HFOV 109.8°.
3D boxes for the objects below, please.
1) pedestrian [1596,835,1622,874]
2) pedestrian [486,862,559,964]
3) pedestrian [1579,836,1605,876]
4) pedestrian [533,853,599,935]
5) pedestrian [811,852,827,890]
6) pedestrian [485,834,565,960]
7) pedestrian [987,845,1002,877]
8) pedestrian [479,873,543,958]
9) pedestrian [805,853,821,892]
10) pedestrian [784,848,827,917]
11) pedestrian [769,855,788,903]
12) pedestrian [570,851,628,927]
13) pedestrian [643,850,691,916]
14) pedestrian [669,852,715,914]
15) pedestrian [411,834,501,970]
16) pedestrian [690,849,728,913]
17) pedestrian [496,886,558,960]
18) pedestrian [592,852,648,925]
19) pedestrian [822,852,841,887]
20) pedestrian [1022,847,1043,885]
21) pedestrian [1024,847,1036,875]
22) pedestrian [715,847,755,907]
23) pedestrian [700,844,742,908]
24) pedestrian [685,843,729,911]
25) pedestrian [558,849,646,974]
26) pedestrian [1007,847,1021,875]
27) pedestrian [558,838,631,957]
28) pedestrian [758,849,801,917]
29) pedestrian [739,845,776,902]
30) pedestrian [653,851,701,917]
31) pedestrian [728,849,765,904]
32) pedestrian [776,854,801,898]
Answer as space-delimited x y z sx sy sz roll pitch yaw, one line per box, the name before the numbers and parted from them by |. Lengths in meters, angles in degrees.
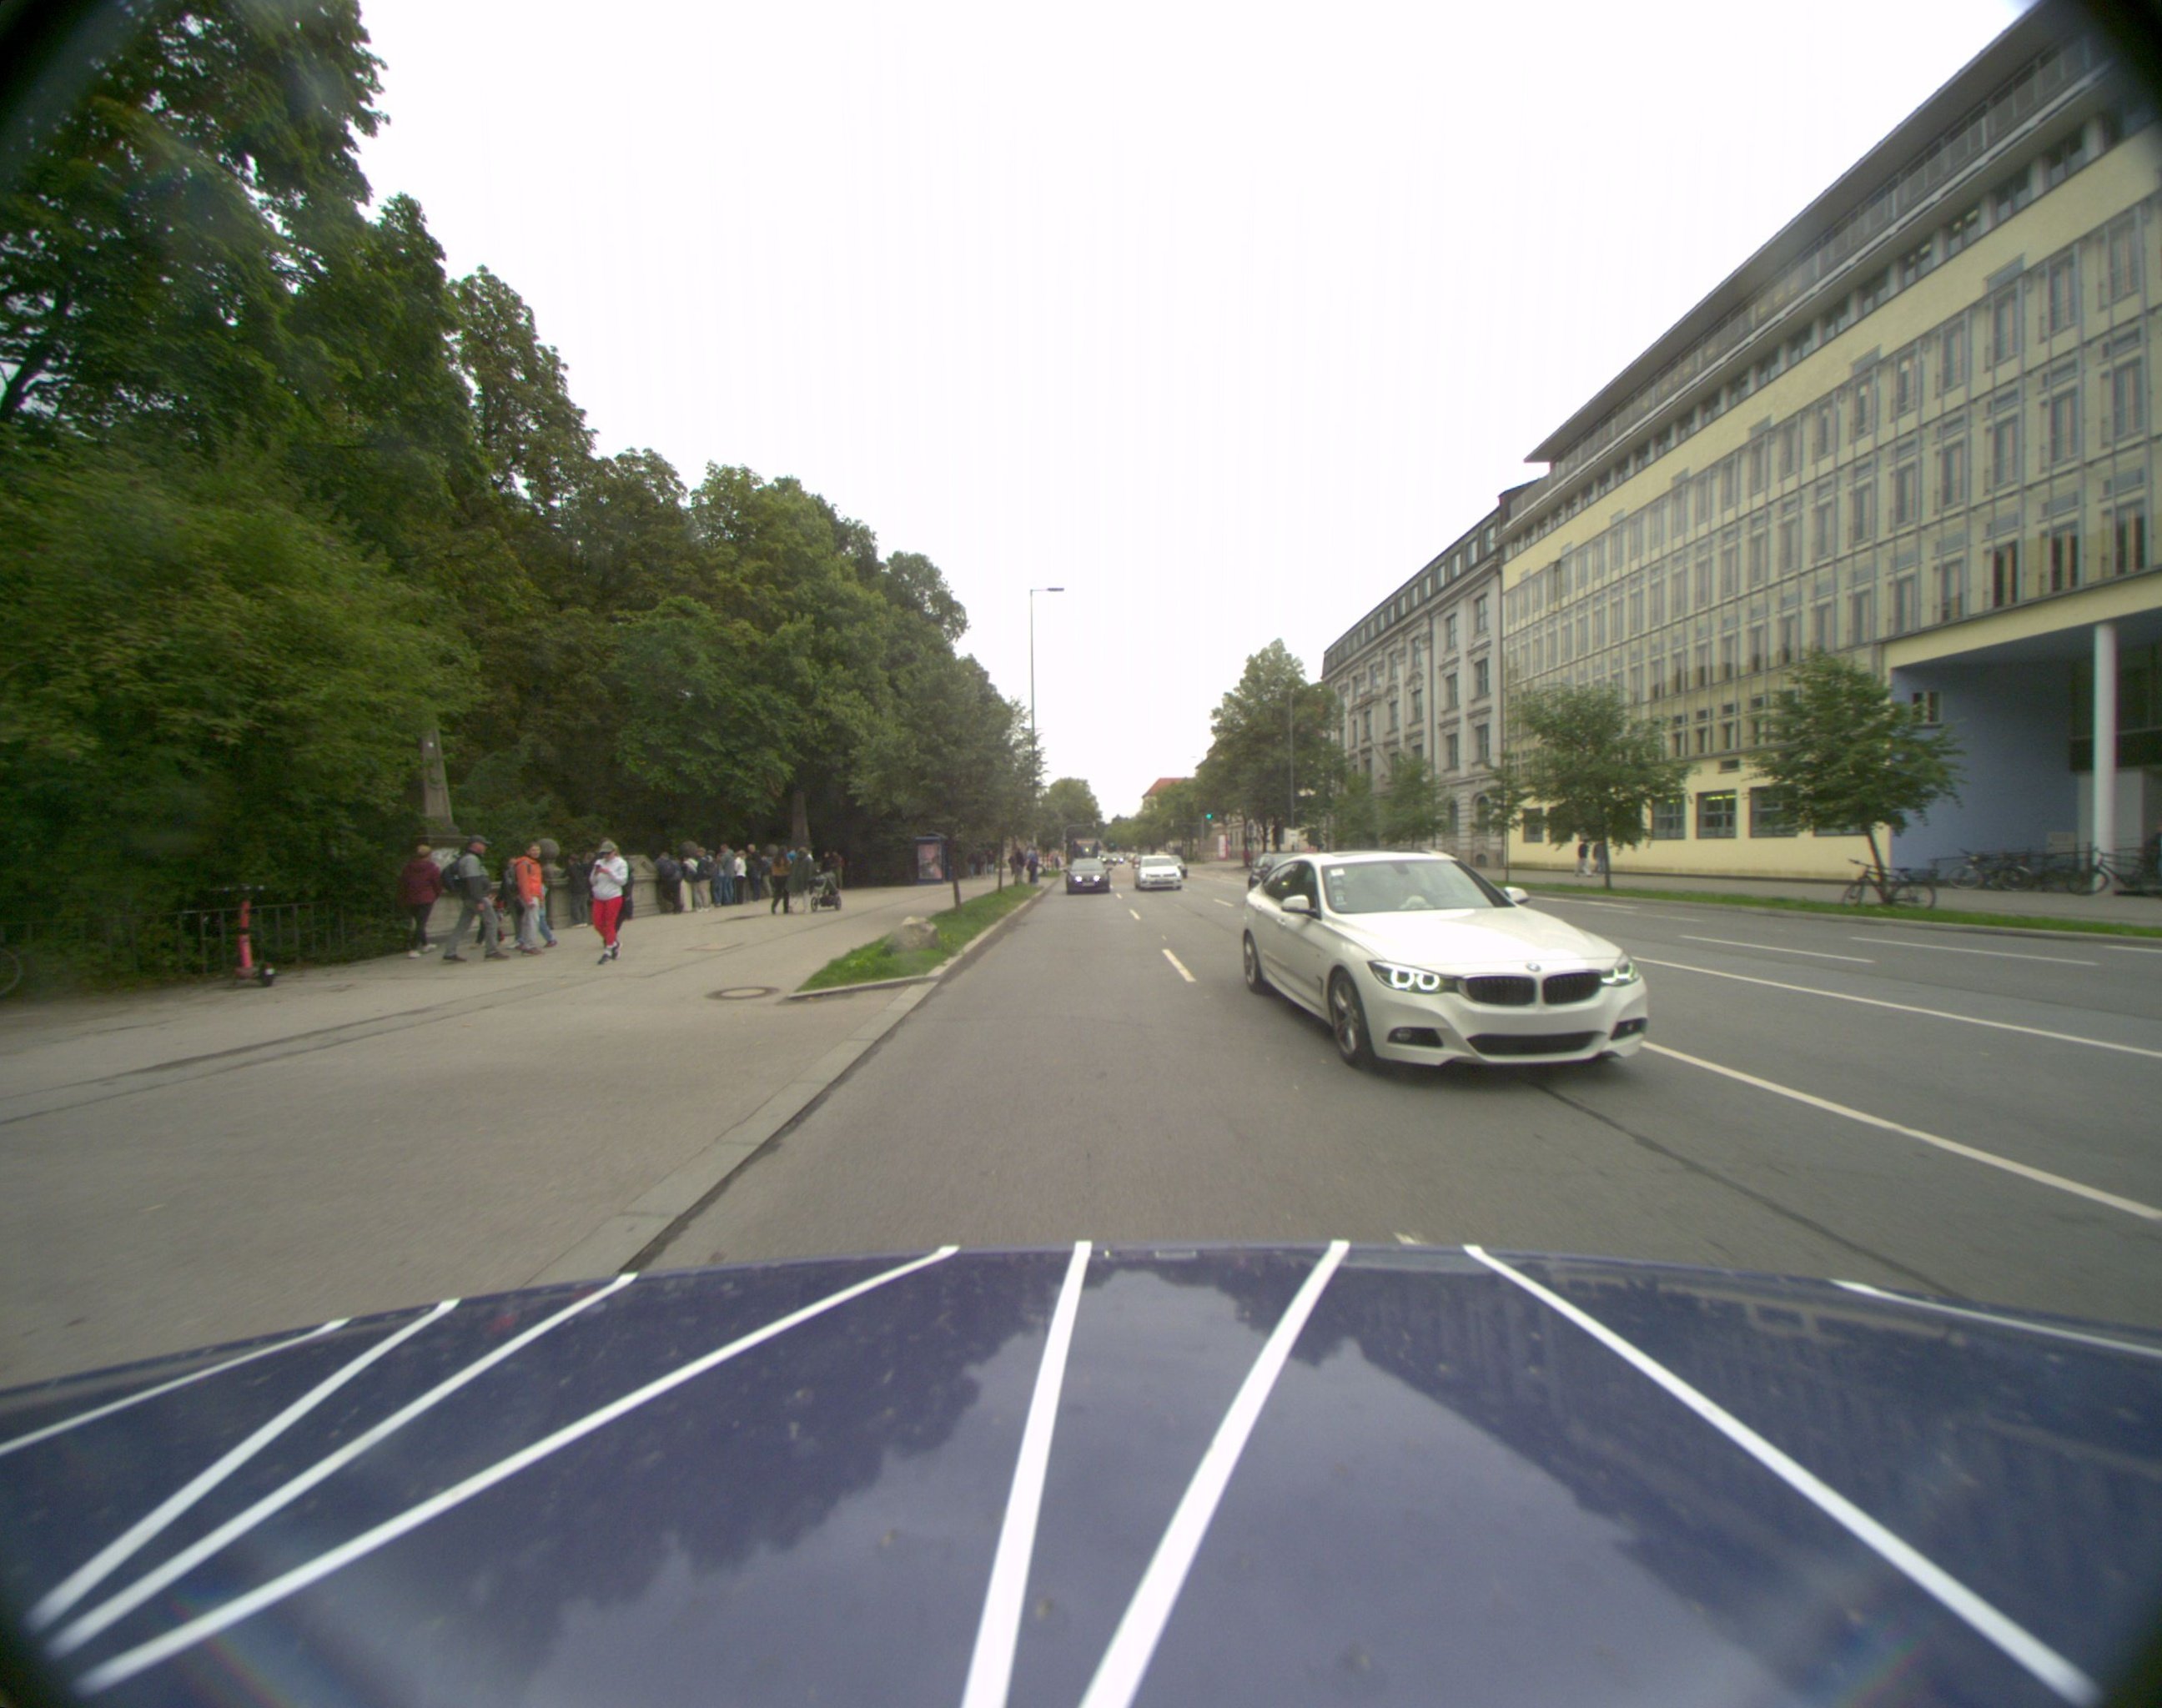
pedestrian | 24.237 0.023 34.887 0.617 1.767 0.836 -2 1 1
pedestrian | -8.662 0.898 11.802 0.550 1.519 0.648 -2 1 6
pedestrian | 23.553 0.082 35.008 0.617 1.767 0.836 -2 1 1
pedestrian | -10.963 0.828 16.189 0.814 1.681 0.729 -2 1 3
pedestrian | -10.459 0.688 30.346 0.421 1.499 0.442 -2 1 3
pedestrian | -8.646 0.653 11.827 0.610 1.903 0.694 -2 1 17
pedestrian | -5.341 0.433 46.848 0.710 1.904 0.956 -2 1 0
pedestrian | -9.288 0.986 12.404 0.459 1.319 0.648 -2 1 6
pedestrian | -10.541 0.708 29.891 0.421 1.499 0.442 -2 1 3
pedestrian | -6.944 0.716 19.165 0.728 1.681 0.648 -2 1 5
pedestrian | -10.890 0.881 27.398 0.421 1.694 0.442 -2 1 2
pedestrian | -10.884 0.777 17.172 0.814 1.681 0.729 0 1 3
pedestrian | -10.732 0.734 19.718 0.814 1.681 0.729 0 1 3
pedestrian | -10.867 0.793 21.250 0.814 1.681 0.729 -2 1 3
pedestrian | -8.908 0.666 10.850 0.610 1.862 0.694 -2 1 17
pedestrian | -10.140 0.716 20.720 0.593 1.681 0.729 -2 1 3
pedestrian | -9.092 1.116 12.478 0.459 1.146 0.648 -2 1 6
pedestrian | -10.891 0.796 17.963 0.814 1.681 0.729 -1 1 3
pedestrian | -12.711 0.781 38.709 0.636 1.758 0.534 -1 1 32
pedestrian | -2.358 0.567 37.024 0.637 1.798 0.711 -1 1 37
pedestrian | -3.376 0.486 50.475 0.672 1.828 0.641 -2 1 2
pedestrian | -10.708 0.702 23.519 0.814 1.780 0.729 -2 1 3
pedestrian | -10.776 0.657 22.769 0.814 1.864 0.729 -2 1 3
pedestrian | -10.813 0.655 21.999 0.814 1.906 0.729 -2 1 3
pedestrian | -6.740 0.792 10.717 0.728 1.681 0.648 -2 1 6
pedestrian | -4.447 0.472 50.429 0.753 1.828 0.756 -2 1 2
pedestrian | -7.893 0.688 12.354 0.610 1.862 0.694 -2 1 17
pedestrian | -7.685 0.729 19.373 0.728 1.681 0.648 -2 1 5
pedestrian | -10.625 0.633 24.974 0.814 1.841 0.729 -2 1 3
pedestrian | -10.891 0.799 20.522 0.814 1.729 0.729 -2 1 3
pedestrian | -10.666 0.706 24.244 0.814 1.681 0.673 -2 1 3
pedestrian | -10.872 0.802 28.256 0.637 1.607 0.533 -2 1 3
